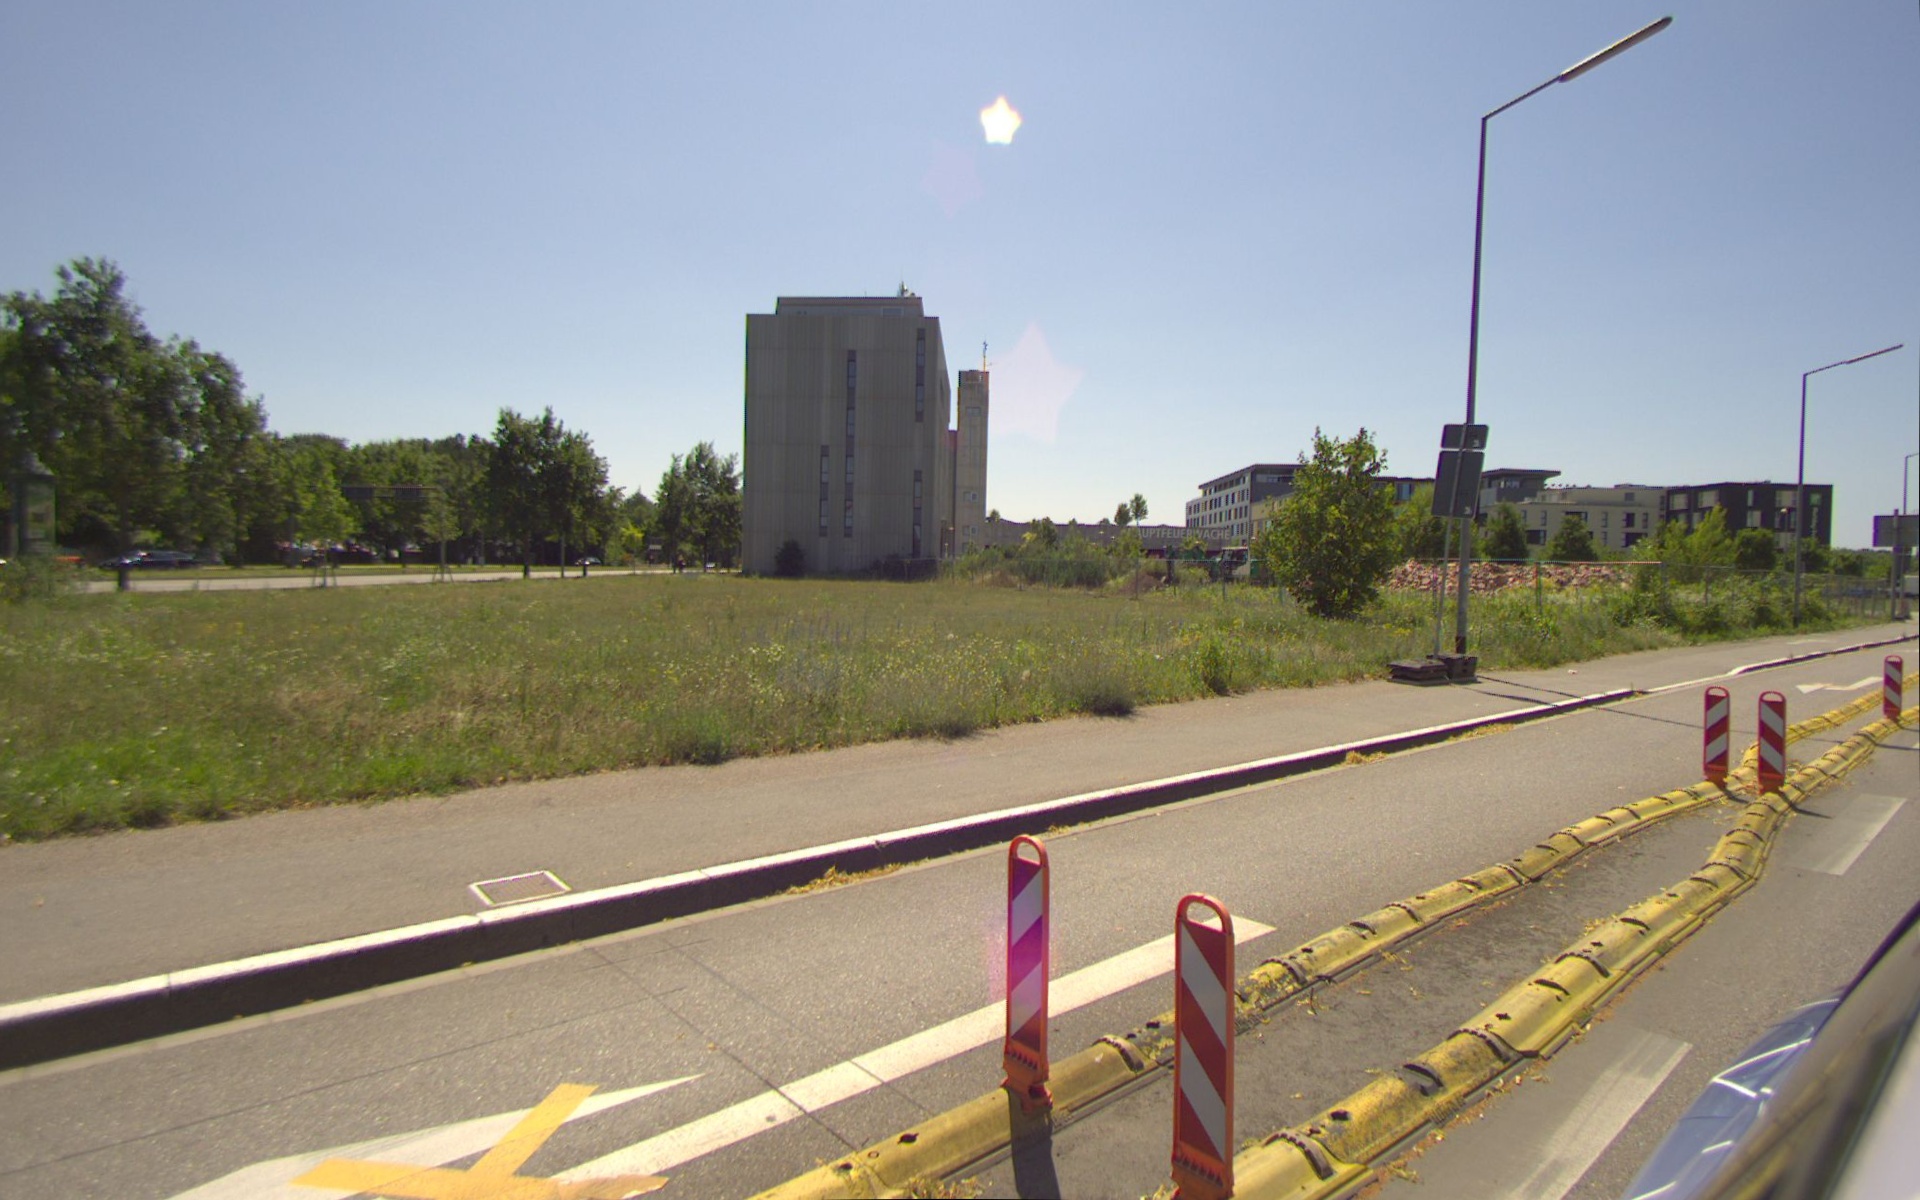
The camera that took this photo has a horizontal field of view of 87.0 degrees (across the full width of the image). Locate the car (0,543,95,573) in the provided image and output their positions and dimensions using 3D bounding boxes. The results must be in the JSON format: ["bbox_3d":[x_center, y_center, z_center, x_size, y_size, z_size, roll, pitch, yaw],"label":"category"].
[{"bbox_3d":[-46.995,-2.118,51.675,1.830,1.440,4.407,1,2,2],"label":"car"}]

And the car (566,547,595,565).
[{"bbox_3d":[-45.452,-5.231,121.358,1.962,2.039,4.000,0,1,1],"label":"car"}]

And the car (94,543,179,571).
[{"bbox_3d":[-46.448,-2.420,57.188,1.688,1.493,3.797,0,1,1],"label":"car"}]

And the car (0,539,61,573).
[{"bbox_3d":[-49.951,-2.310,52.982,1.830,1.704,4.407,1,2,2],"label":"car"}]

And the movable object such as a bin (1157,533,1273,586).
[{"bbox_3d":[16.067,-2.501,63.563,7.458,3.188,2.816,-1,1,-33],"label":"movable object such as a bin"}]
